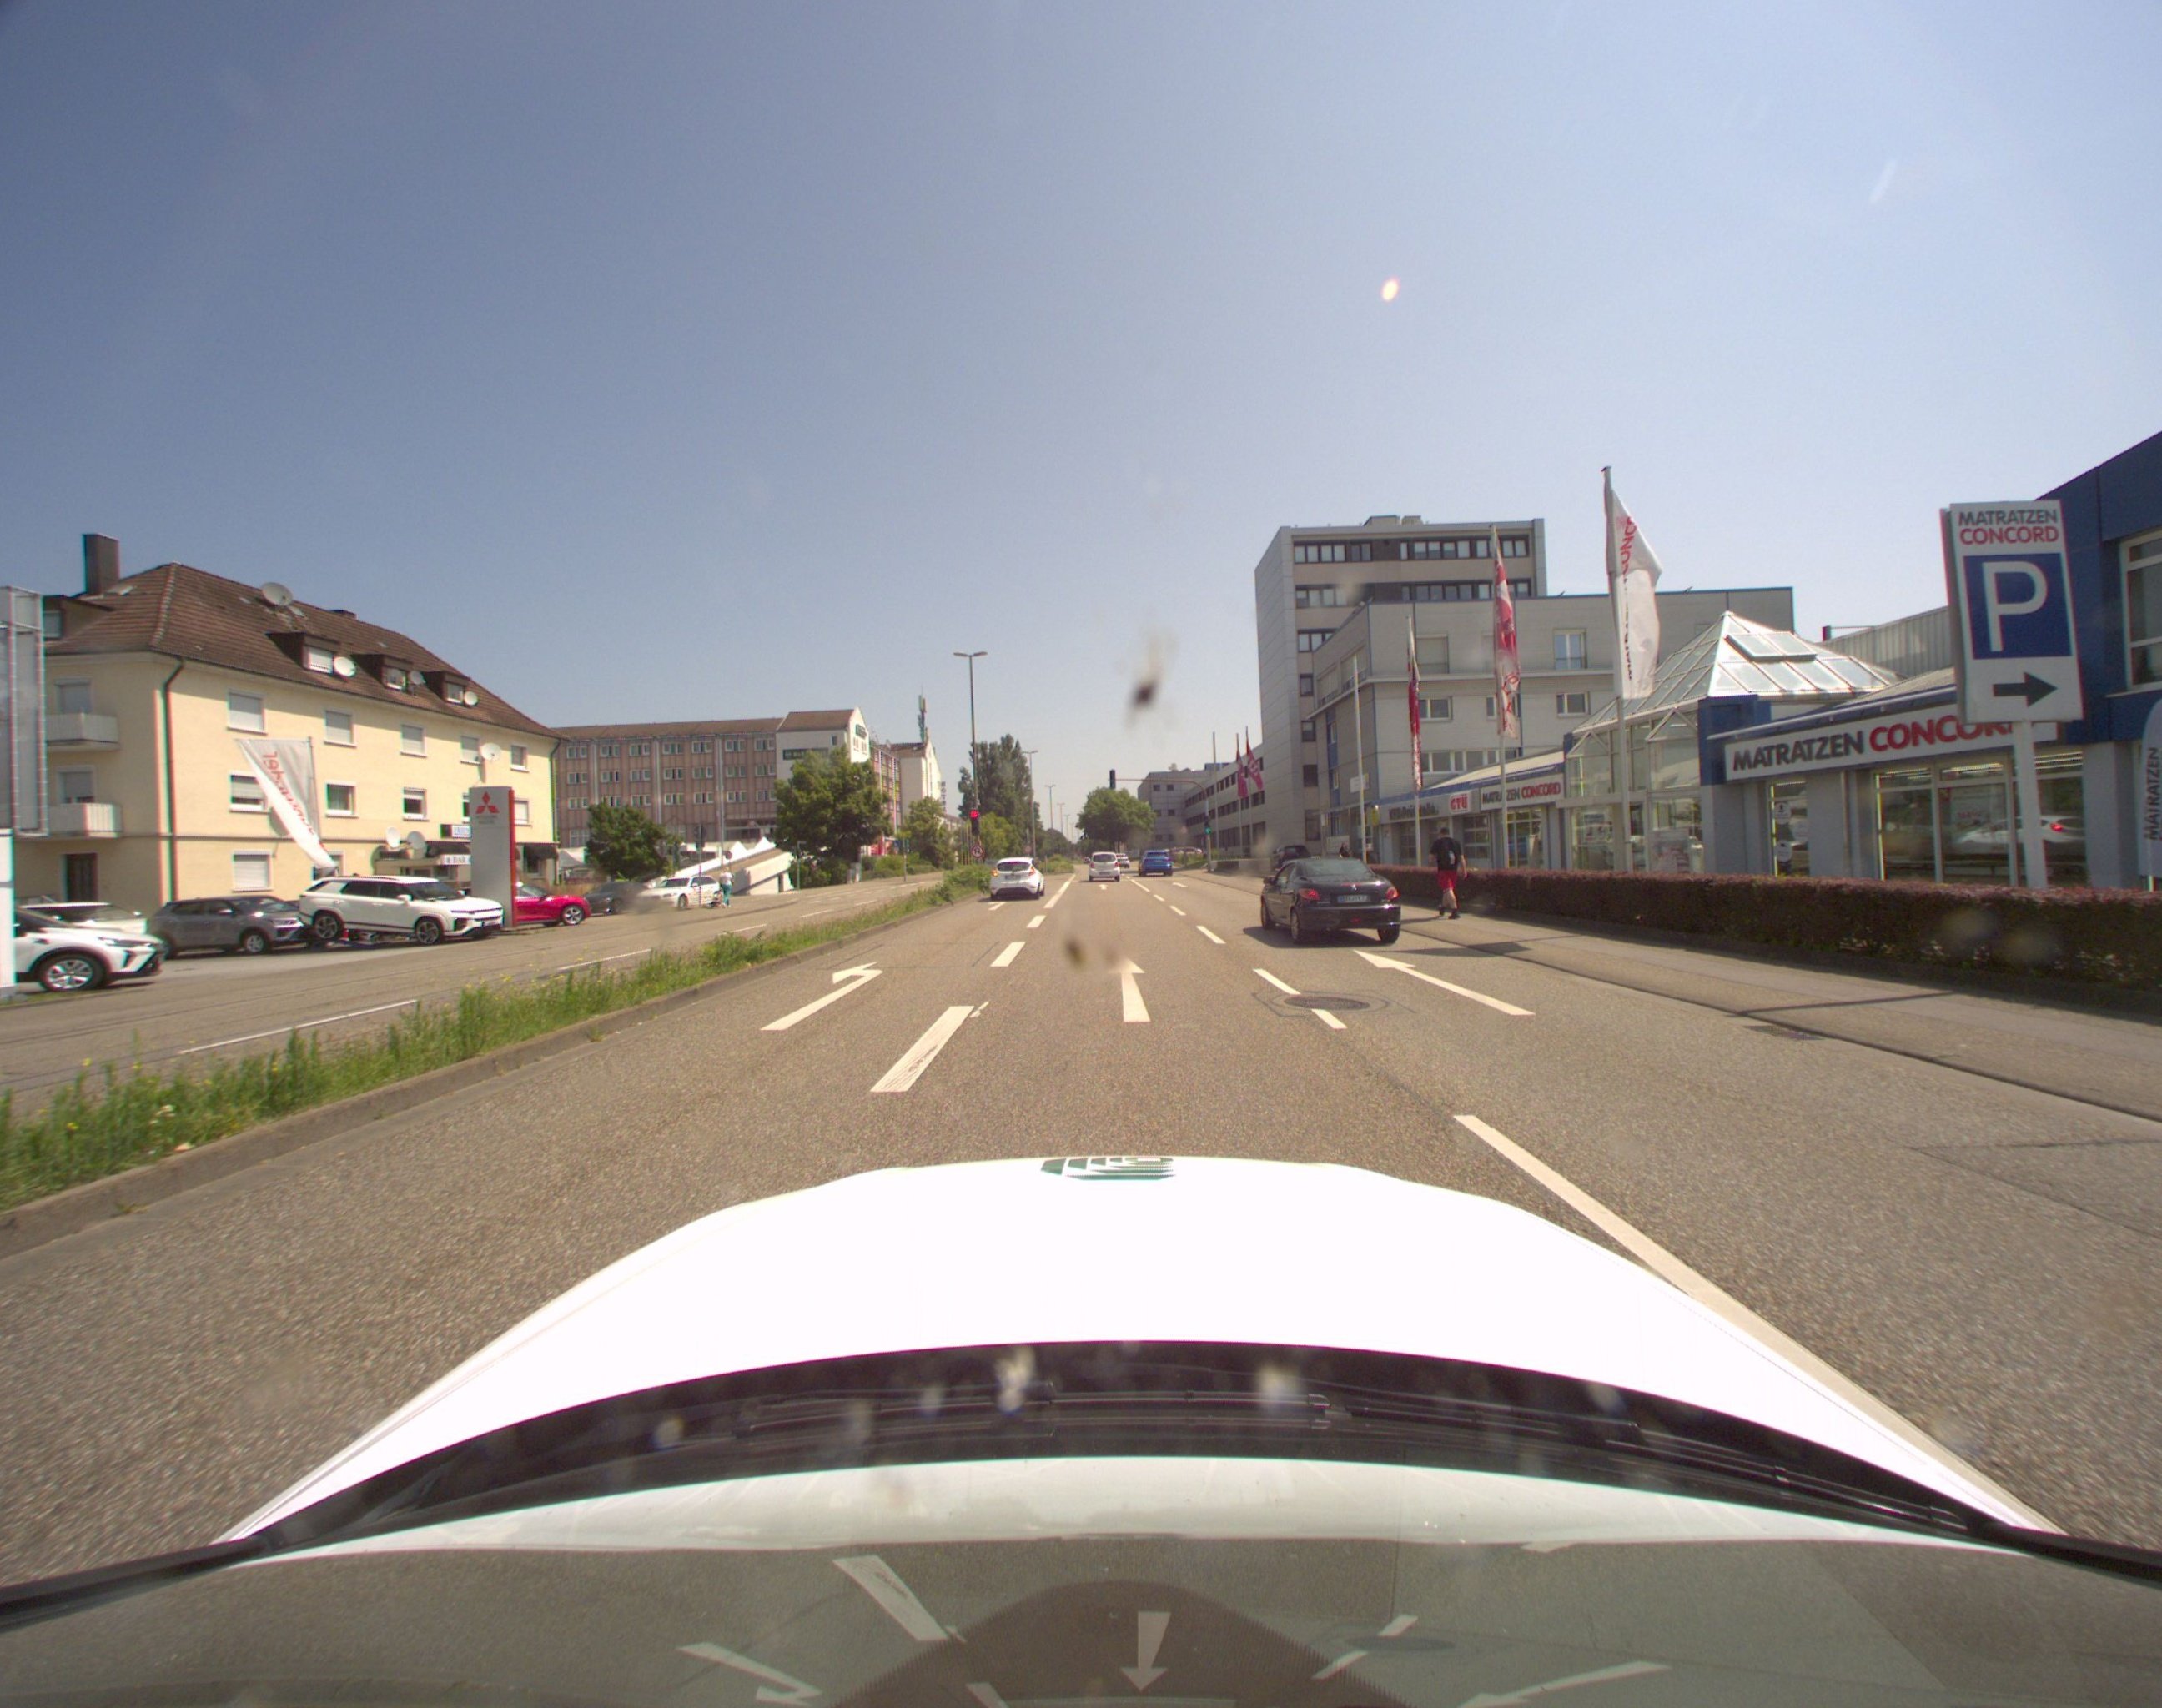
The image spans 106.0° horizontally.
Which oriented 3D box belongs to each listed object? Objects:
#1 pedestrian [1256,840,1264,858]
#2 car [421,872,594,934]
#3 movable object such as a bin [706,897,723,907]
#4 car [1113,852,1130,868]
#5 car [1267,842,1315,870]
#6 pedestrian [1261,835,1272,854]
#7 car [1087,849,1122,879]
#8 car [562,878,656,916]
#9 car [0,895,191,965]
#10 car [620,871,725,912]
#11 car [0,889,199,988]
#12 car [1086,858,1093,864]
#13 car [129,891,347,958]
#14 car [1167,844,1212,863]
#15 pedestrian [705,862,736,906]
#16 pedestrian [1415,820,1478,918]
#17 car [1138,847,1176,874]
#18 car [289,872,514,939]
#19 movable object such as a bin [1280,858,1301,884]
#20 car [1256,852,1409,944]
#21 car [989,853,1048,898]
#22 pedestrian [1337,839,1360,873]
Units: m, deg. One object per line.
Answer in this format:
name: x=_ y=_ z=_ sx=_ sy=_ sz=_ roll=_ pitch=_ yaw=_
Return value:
pedestrian: x=16.535 y=-0.491 z=75.221 sx=0.589 sy=1.634 sz=0.524 roll=-3 pitch=0 yaw=9
car: x=-18.465 y=1.527 z=26.400 sx=1.816 sy=1.642 sz=4.205 roll=-2 pitch=0 yaw=39
movable object such as a bin: x=-14.898 y=1.939 z=33.108 sx=0.415 sy=0.372 sz=0.507 roll=-2 pitch=0 yaw=2
car: x=3.924 y=0.561 z=78.623 sx=1.552 sy=1.520 sz=3.609 roll=-2 pitch=0 yaw=3
car: x=12.404 y=0.121 z=48.409 sx=1.837 sy=1.531 sz=4.197 roll=-1 pitch=0 yaw=1
pedestrian: x=16.740 y=-0.821 z=73.501 sx=0.523 sy=1.663 sz=0.752 roll=-3 pitch=0 yaw=-17
car: x=1.284 y=0.527 z=43.867 sx=1.741 sy=1.520 sz=3.747 roll=-1 pitch=0 yaw=2
car: x=-20.214 y=1.798 z=35.070 sx=1.728 sy=1.351 sz=3.997 roll=-3 pitch=0 yaw=-2
car: x=-27.816 y=2.095 z=22.656 sx=3.974 sy=1.615 sz=1.865 roll=-3 pitch=0 yaw=0
car: x=-17.205 y=1.540 z=34.613 sx=1.768 sy=1.410 sz=4.763 roll=-2 pitch=0 yaw=4
car: x=-18.351 y=1.407 z=13.970 sx=4.017 sy=1.624 sz=1.740 roll=2 pitch=-3 yaw=-36
car: x=2.330 y=1.843 z=225.059 sx=1.814 sy=1.662 sz=3.999 roll=-2 pitch=0 yaw=0
car: x=-23.183 y=1.906 z=22.518 sx=3.974 sy=1.530 sz=1.865 roll=-3 pitch=0 yaw=0
car: x=11.131 y=-0.041 z=83.629 sx=4.251 sy=1.689 sz=1.997 roll=-3 pitch=0 yaw=-4
pedestrian: x=-14.870 y=1.239 z=33.602 sx=0.738 sy=1.747 sz=1.034 roll=-2 pitch=0 yaw=2
pedestrian: x=7.185 y=0.289 z=16.055 sx=0.782 sy=1.846 sz=0.937 roll=-2 pitch=0 yaw=3
car: x=4.620 y=0.387 z=50.175 sx=1.823 sy=1.580 sz=3.602 roll=-2 pitch=0 yaw=-3
car: x=-18.324 y=1.367 z=22.121 sx=4.533 sy=1.709 sz=1.759 roll=0 pitch=0 yaw=-1
movable object such as a bin: x=7.754 y=0.632 z=30.208 sx=0.549 sy=0.919 sz=0.653 roll=-5 pitch=0 yaw=1
car: x=4.233 y=0.670 z=14.251 sx=1.621 sy=1.364 sz=3.606 roll=-1 pitch=0 yaw=1
car: x=-2.157 y=0.706 z=29.005 sx=1.682 sy=1.434 sz=3.712 roll=-2 pitch=0 yaw=1
pedestrian: x=13.109 y=0.079 z=39.958 sx=0.806 sy=1.627 sz=0.853 roll=-3 pitch=0 yaw=4
